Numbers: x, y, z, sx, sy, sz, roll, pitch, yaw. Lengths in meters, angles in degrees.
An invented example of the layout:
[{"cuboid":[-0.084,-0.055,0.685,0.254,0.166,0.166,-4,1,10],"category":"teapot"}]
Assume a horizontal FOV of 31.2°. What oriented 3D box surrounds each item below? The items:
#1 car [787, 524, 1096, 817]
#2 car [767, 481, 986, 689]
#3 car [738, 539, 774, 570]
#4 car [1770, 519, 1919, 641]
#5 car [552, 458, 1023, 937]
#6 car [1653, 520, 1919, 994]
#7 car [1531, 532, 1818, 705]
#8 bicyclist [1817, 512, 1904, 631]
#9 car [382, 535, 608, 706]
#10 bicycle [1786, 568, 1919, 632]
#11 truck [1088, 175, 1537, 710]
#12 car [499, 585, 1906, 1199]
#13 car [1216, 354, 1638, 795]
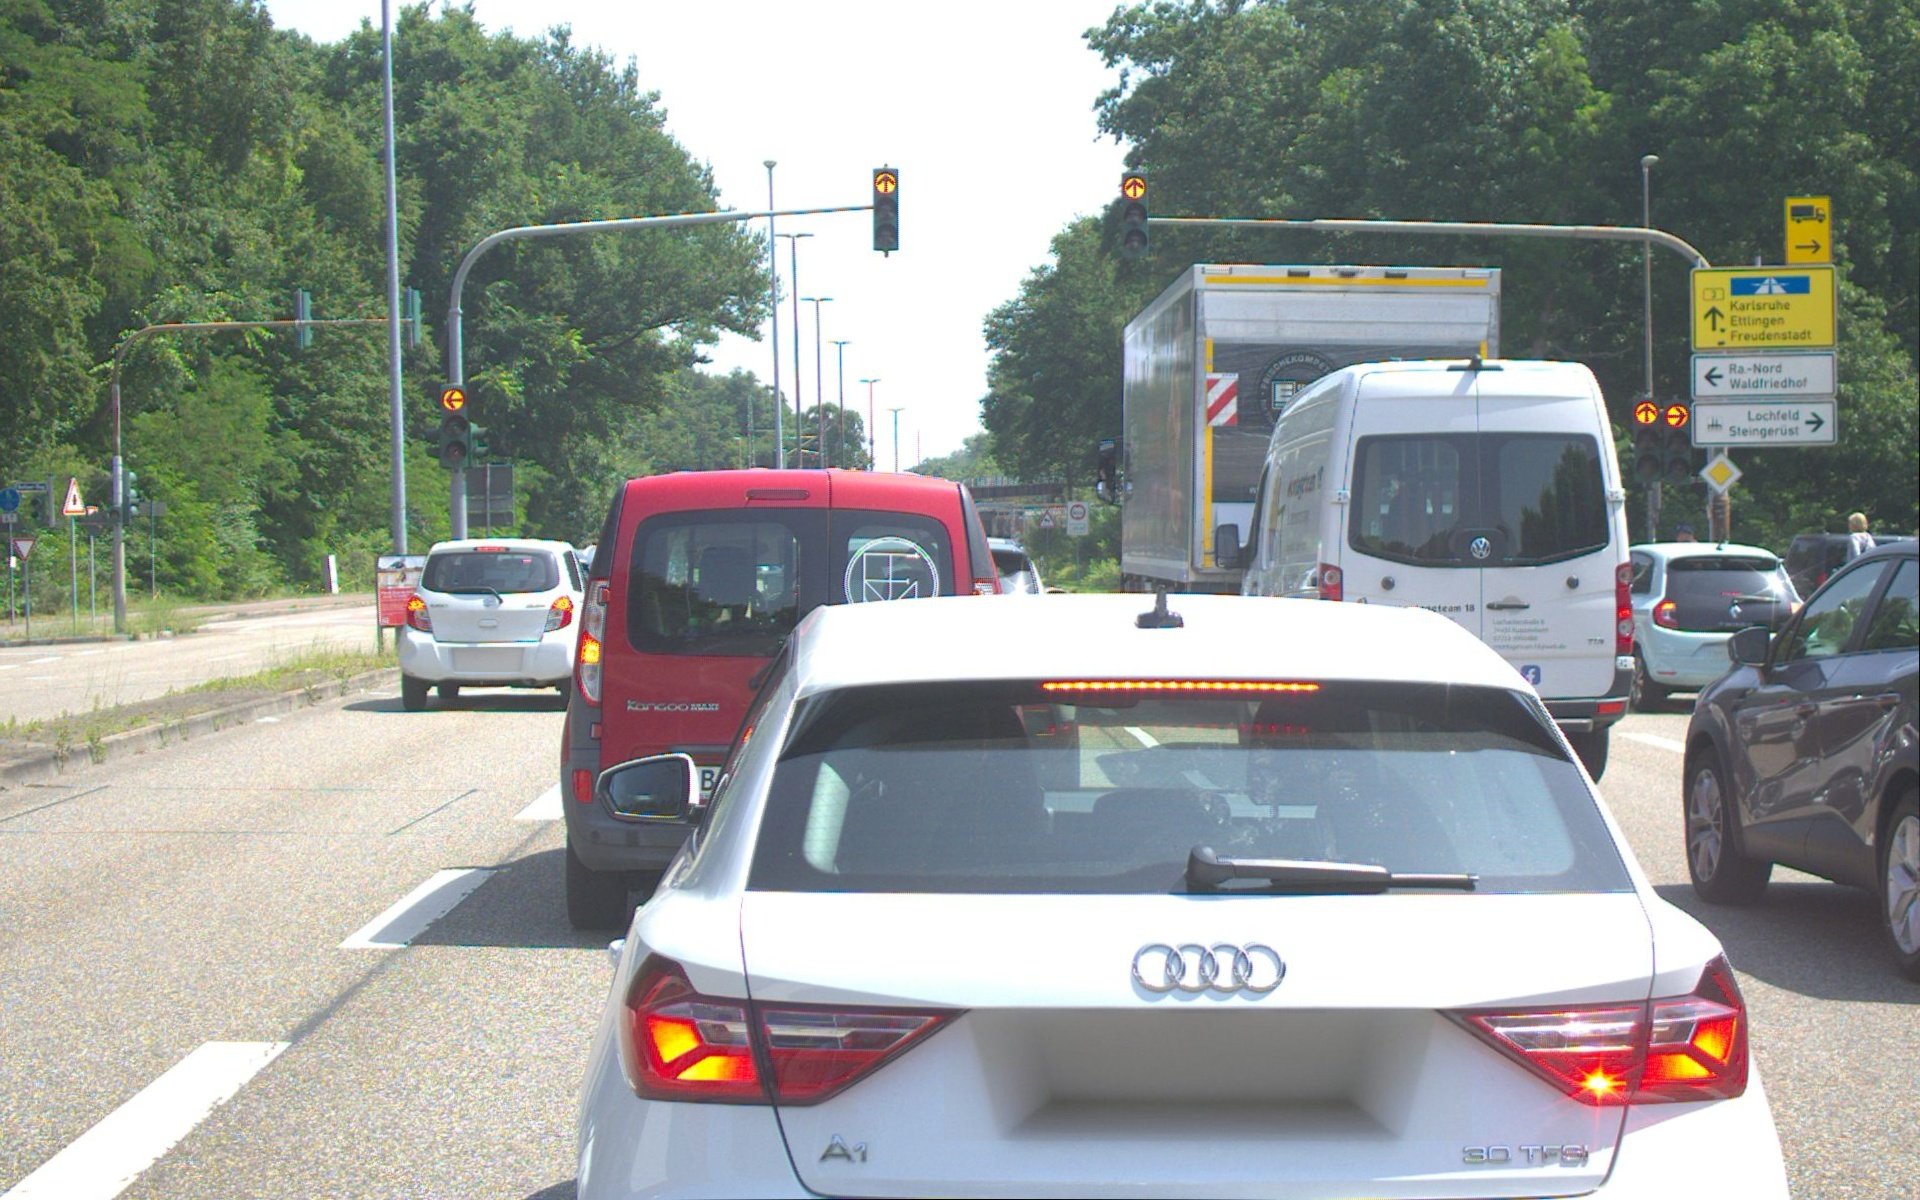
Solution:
[{"cuboid":[-0.187,0.354,21.129,1.711,1.626,4.092,0,1,-2],"category":"car"},{"cuboid":[-0.738,-0.154,28.930,1.711,1.626,4.092,0,1,-2],"category":"car"},{"cuboid":[-12.000,-2.702,202.383,1.993,1.766,4.205,-1,1,-2],"category":"car"},{"cuboid":[16.123,-0.370,58.889,3.987,2.007,2.000,-1,1,0],"category":"car"},{"cuboid":[-0.712,0.318,14.578,1.711,1.742,4.092,0,1,-2],"category":"car"},{"cuboid":[4.002,0.496,13.166,1.711,1.587,4.092,0,1,-2],"category":"car"},{"cuboid":[6.699,0.128,32.631,1.711,1.541,4.092,0,1,-2],"category":"car"},{"cuboid":[11.076,-0.353,42.298,0.828,1.434,0.598,0,1,44],"category":"bicyclist"},{"cuboid":[-4.275,0.142,32.117,1.711,1.487,4.092,0,1,-2],"category":"car"},{"cuboid":[11.129,-0.002,42.259,1.826,0.763,0.599,0,1,44],"category":"bicycle"},{"cuboid":[3.146,-1.414,34.356,3.088,4.418,11.581,0,1,-1],"category":"truck"},{"cuboid":[0.216,0.692,6.221,1.711,1.381,4.092,0,1,-2],"category":"car"},{"cuboid":[2.978,-0.196,23.010,2.031,2.635,4.846,0,1,-2],"category":"car"}]
